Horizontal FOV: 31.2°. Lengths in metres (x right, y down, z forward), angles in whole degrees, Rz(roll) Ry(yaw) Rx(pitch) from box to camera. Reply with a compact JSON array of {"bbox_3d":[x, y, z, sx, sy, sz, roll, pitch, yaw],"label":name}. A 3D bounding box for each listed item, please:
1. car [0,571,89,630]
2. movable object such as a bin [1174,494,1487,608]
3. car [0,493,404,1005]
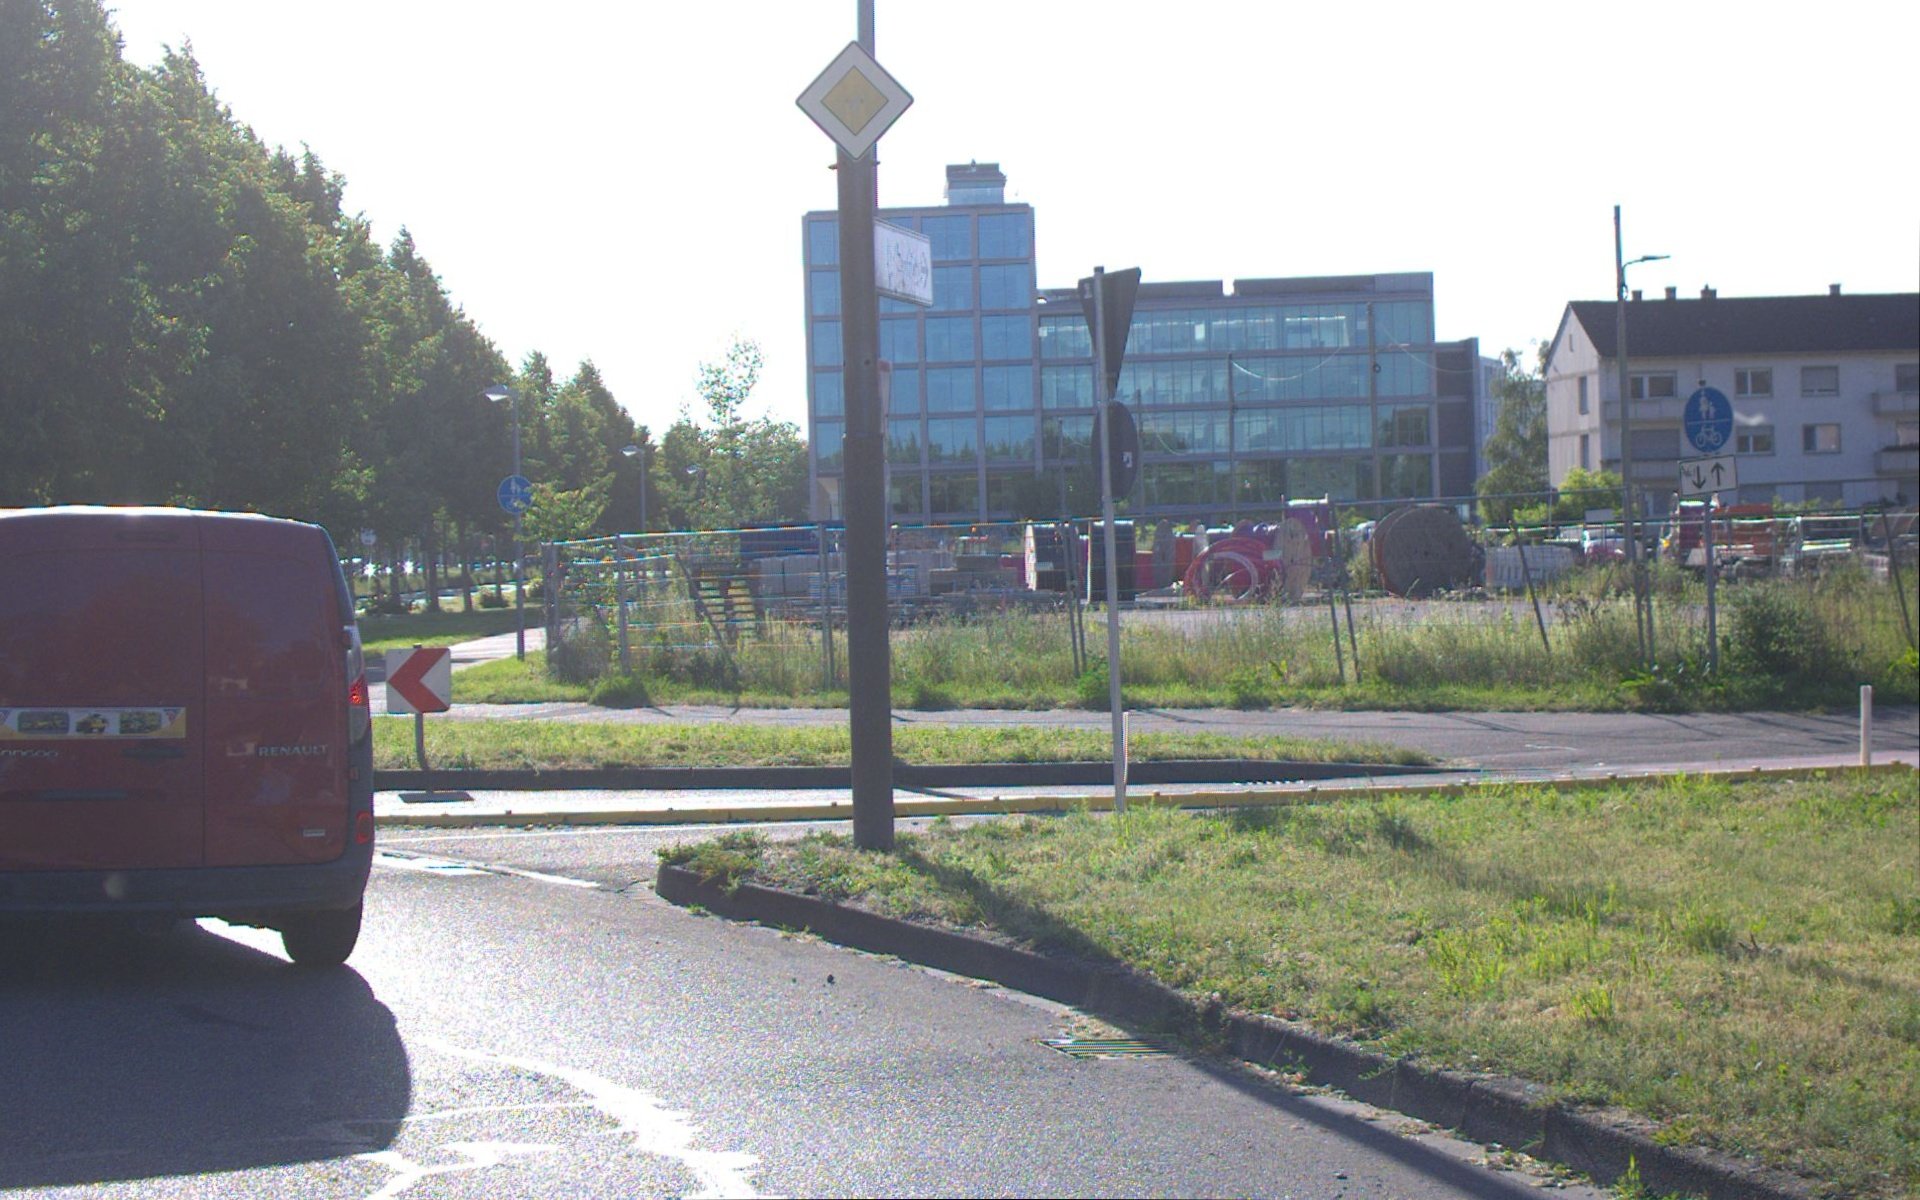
[{"bbox_3d":[-26.949,-0.002,100.388,1.993,1.569,4.409,-2,1,-2],"label":"car"},{"bbox_3d":[9.676,-1.304,90.412,7.907,2.773,2.943,-1,1,2],"label":"movable object such as a bin"},{"bbox_3d":[-3.719,0.523,14.112,1.802,1.807,3.810,0,0,-26],"label":"car"}]
